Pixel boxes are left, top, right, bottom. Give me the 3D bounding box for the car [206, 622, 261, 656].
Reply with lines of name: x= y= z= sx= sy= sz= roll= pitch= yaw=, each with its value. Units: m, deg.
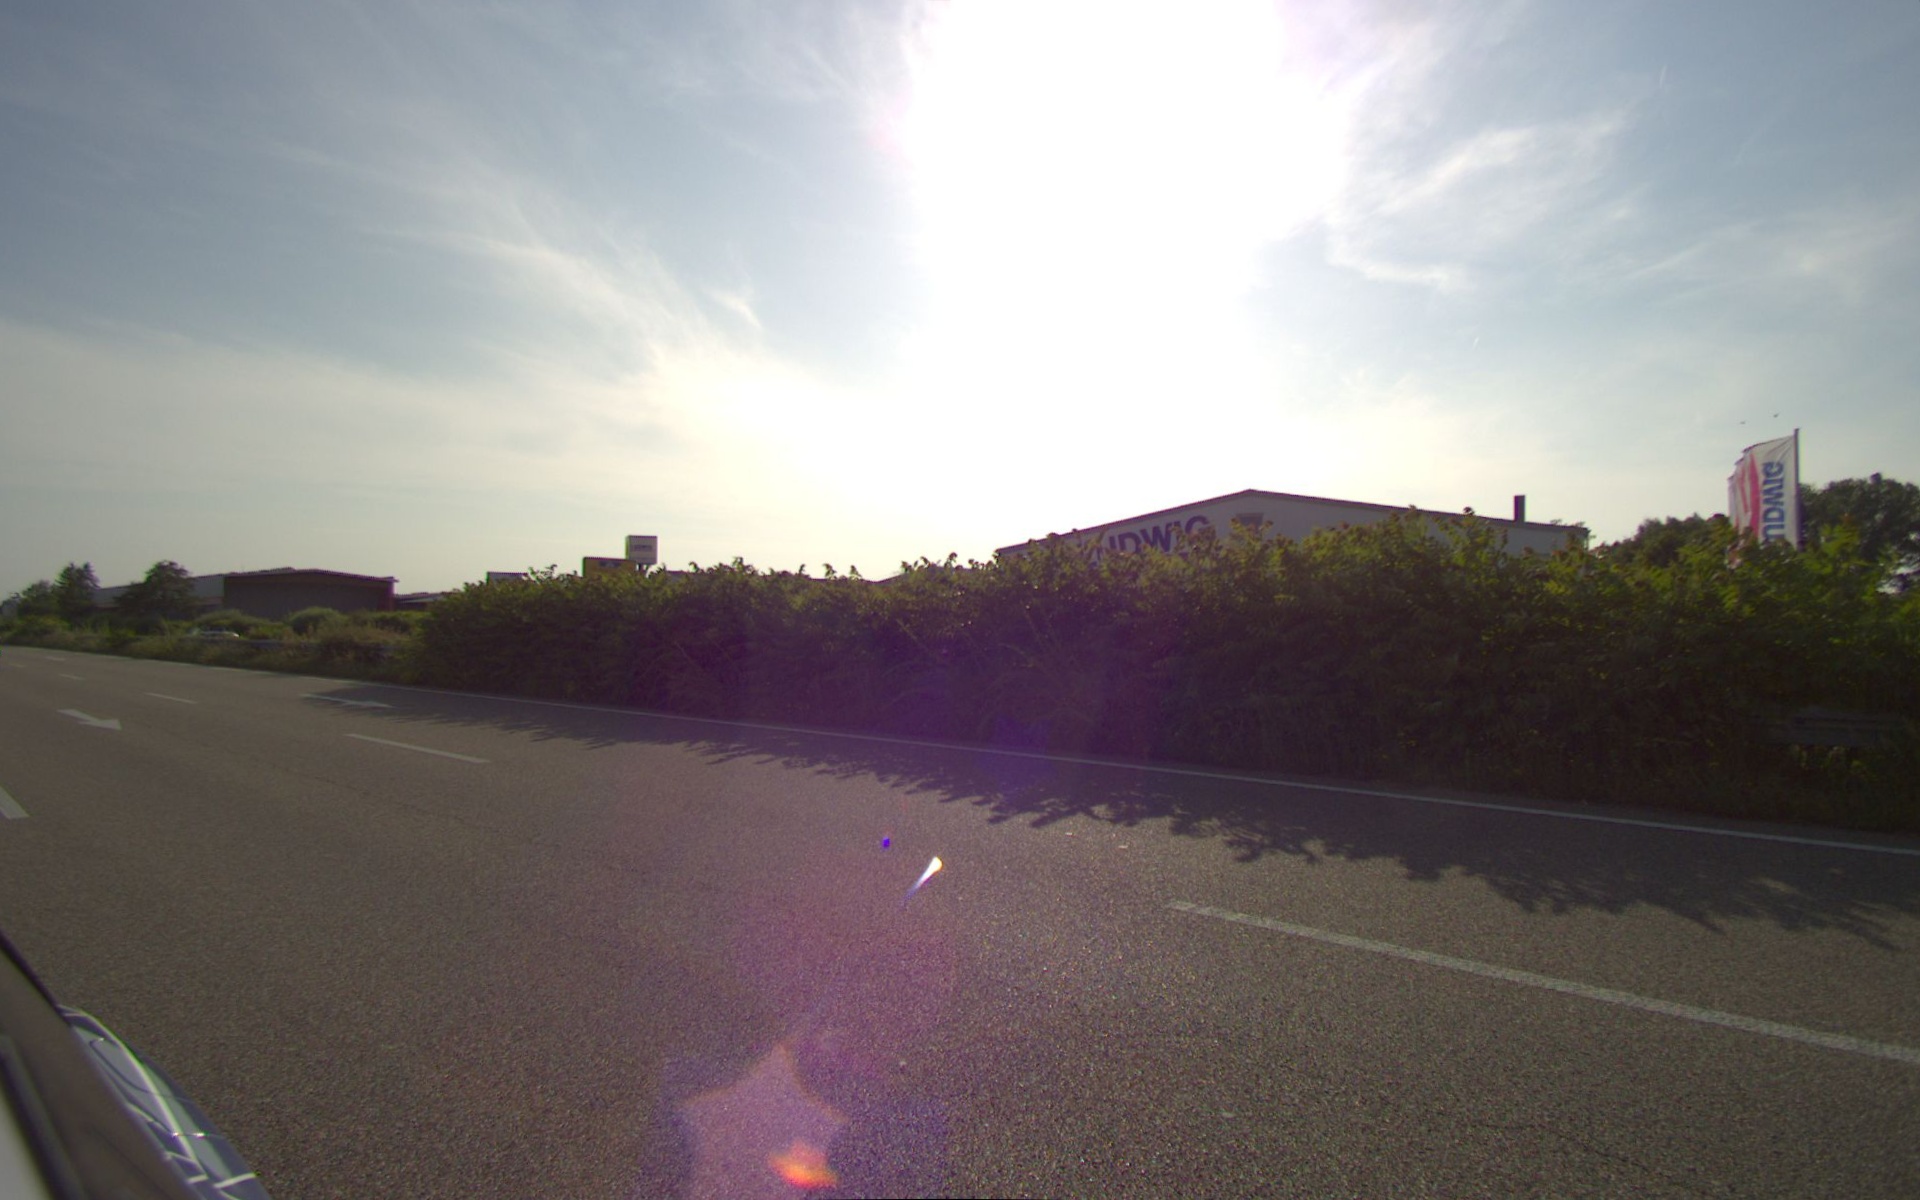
car: x=-37.886 y=2.012 z=52.778 sx=3.458 sy=1.656 sz=1.579 roll=-1 pitch=-1 yaw=41
